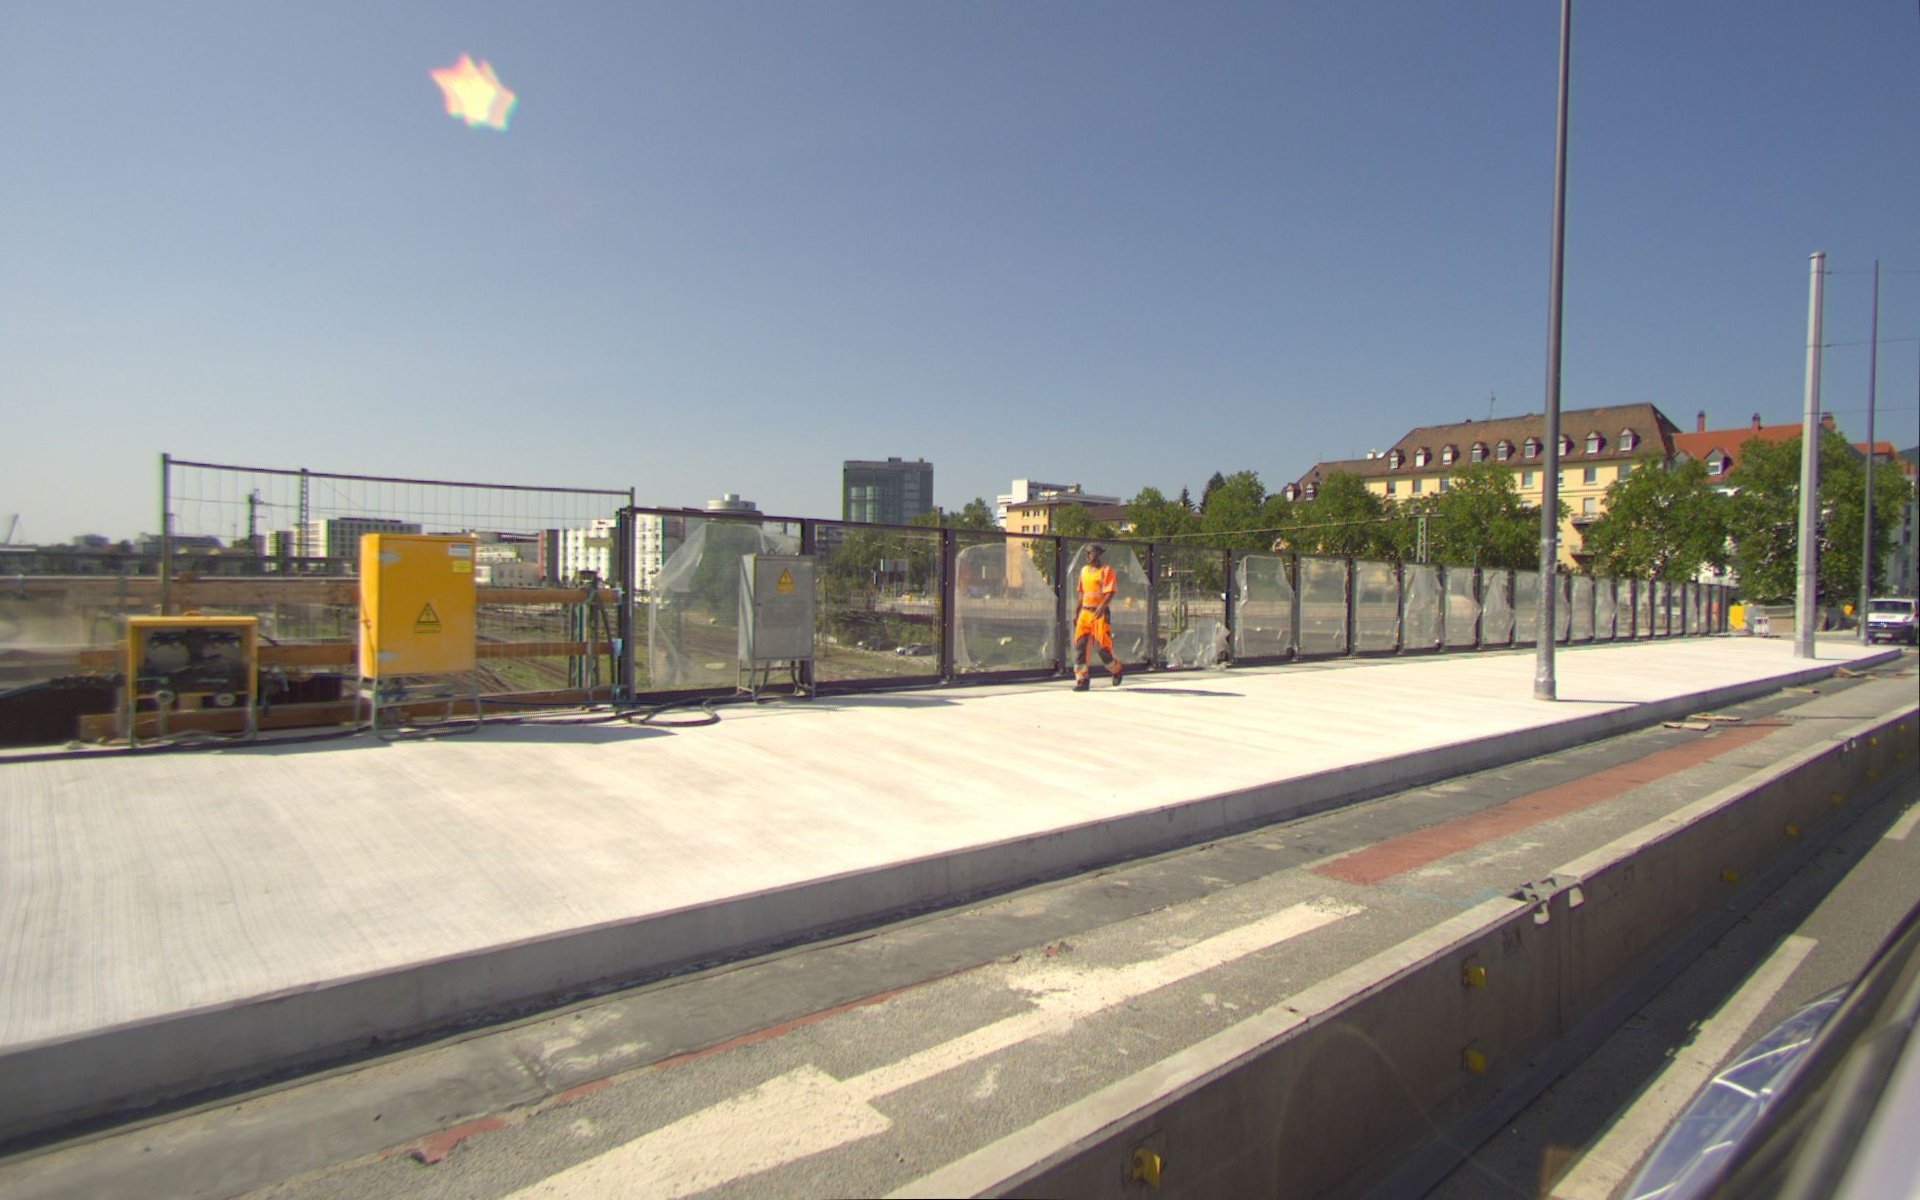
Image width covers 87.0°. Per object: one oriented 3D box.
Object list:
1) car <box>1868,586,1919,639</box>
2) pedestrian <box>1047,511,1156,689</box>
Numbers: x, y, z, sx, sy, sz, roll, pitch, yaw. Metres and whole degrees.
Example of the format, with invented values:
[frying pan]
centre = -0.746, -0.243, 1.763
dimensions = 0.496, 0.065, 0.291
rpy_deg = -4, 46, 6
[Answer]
[car]
centre = 41.191, 0.561, 43.770
dimensions = 6.353, 2.117, 1.937
rpy_deg = 1, 0, -40
[pedestrian]
centre = 1.668, -0.018, 11.917
dimensions = 0.998, 1.989, 0.733
rpy_deg = 0, 3, -41
